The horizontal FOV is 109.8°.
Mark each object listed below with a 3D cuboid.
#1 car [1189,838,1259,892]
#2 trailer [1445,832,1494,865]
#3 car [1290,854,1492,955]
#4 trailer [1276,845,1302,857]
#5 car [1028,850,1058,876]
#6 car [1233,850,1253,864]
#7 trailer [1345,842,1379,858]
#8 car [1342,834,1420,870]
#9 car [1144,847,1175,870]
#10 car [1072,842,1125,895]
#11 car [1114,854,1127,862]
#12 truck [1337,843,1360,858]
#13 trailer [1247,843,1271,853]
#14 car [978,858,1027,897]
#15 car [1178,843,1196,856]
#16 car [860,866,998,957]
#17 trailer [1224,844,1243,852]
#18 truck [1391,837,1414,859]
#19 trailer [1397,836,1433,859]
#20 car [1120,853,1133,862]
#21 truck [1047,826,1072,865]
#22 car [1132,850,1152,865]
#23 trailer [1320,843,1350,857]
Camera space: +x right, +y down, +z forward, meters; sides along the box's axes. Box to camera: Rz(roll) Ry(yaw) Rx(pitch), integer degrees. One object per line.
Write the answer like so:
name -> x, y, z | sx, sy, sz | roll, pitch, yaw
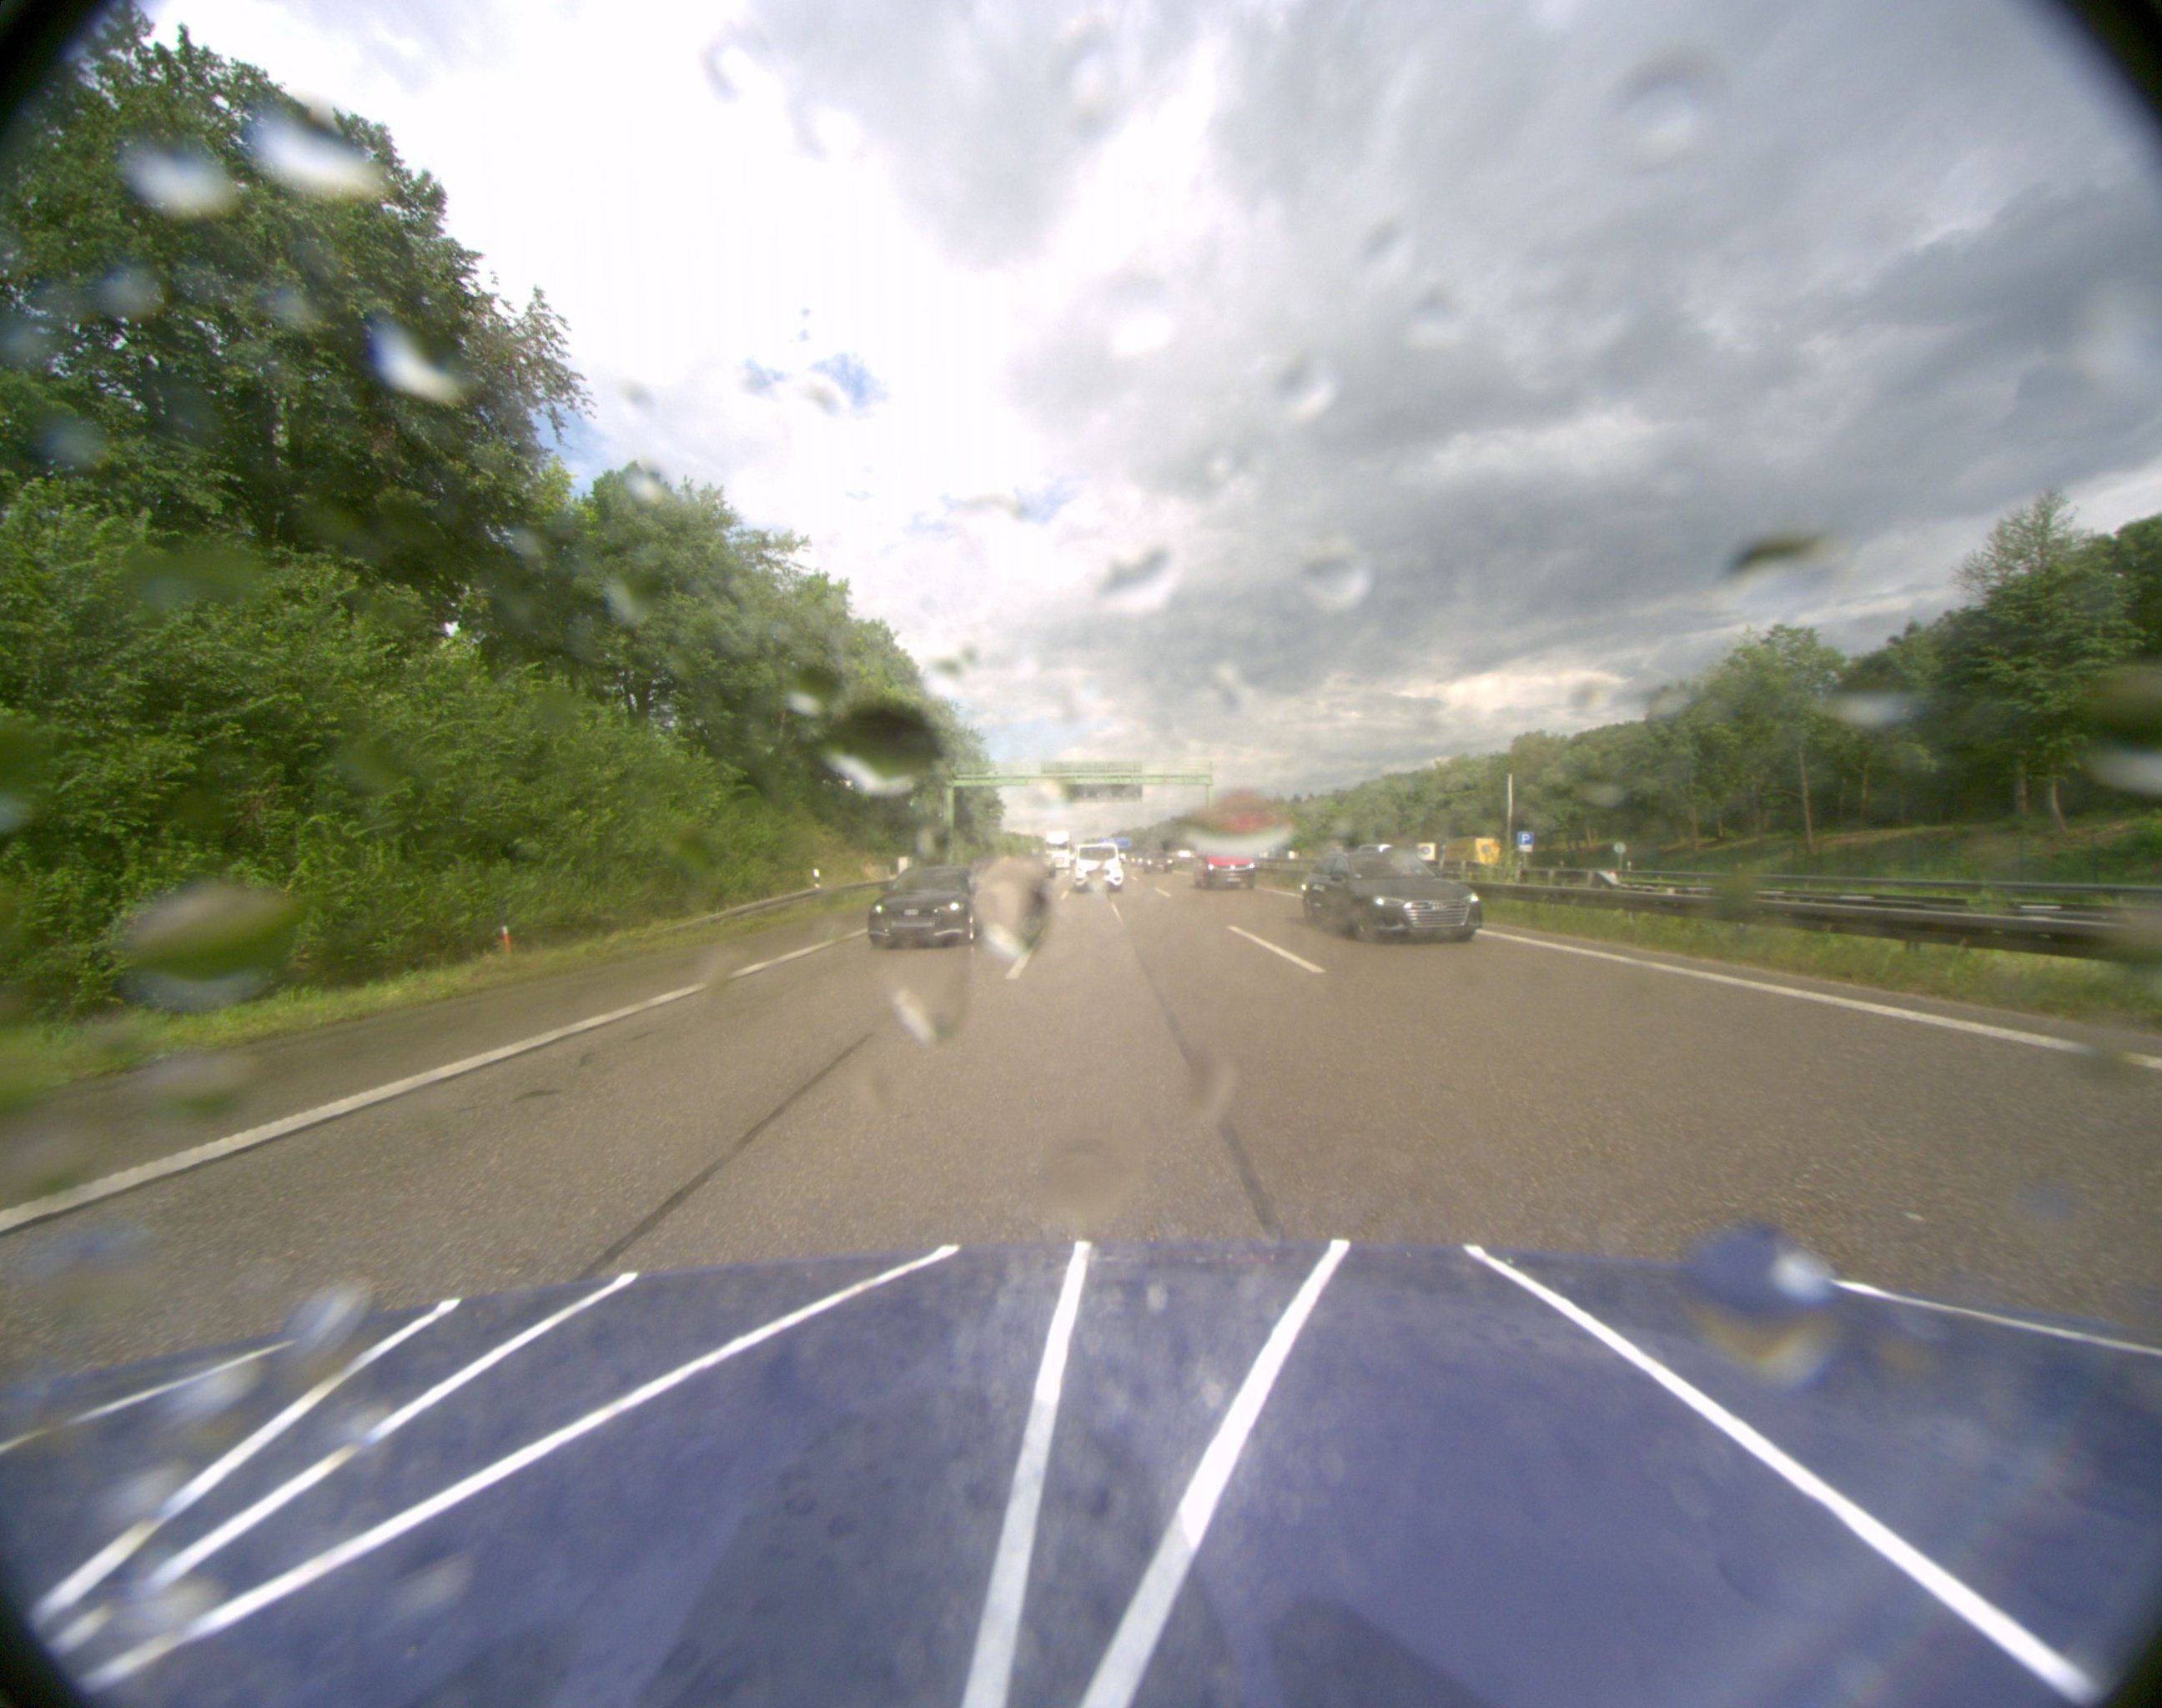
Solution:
car -> 5.737, 0.396, 31.033 | 1.895, 1.973, 4.750 | -2, 0, 0
trailer -> 47.340, -0.715, 93.064 | 1.996, 3.673, 13.669 | -2, 1, 13
car -> 5.178, 0.746, 13.407 | 1.723, 1.403, 4.467 | -2, 0, 0
trailer -> 56.867, -0.915, 208.369 | 3.193, 3.252, 12.644 | 0, 0, -2
car -> -2.683, 0.597, 54.977 | 1.831, 1.793, 5.305 | -1, 0, 0
car -> 24.015, 0.399, 112.926 | 1.998, 2.002, 4.000 | -3, 0, 1
trailer -> 57.222, -0.753, 155.166 | 3.026, 3.174, 12.175 | 0, 0, 2
car -> 14.756, -0.116, 37.694 | 1.913, 1.669, 4.968 | 0, 0, 0
car -> 5.902, 0.327, 57.691 | 1.895, 1.660, 4.294 | -1, 0, 0
car -> 0.681, 0.552, 31.638 | 1.985, 1.973, 5.168 | -2, 0, 0
car -> 6.569, 0.675, 126.612 | 1.888, 1.228, 4.506 | -2, 0, 0
truck -> 57.322, -0.787, 163.027 | 3.049, 3.165, 5.597 | 0, 0, 2
trailer -> 54.530, -1.839, 233.276 | 3.086, 3.252, 13.401 | 0, 0, -6
car -> -3.196, 0.918, 31.404 | 1.655, 1.447, 3.744 | -2, 0, -1
car -> 16.200, -0.666, 116.412 | 1.998, 1.823, 4.619 | -3, 0, 1
car -> -2.777, 0.994, 14.860 | 1.759, 1.388, 4.368 | -2, 0, 0
trailer -> 50.877, -1.894, 253.838 | 2.537, 2.559, 9.869 | -2, 1, -11
truck -> 54.398, -1.026, 128.733 | 2.167, 3.599, 5.581 | 0, 0, 8
trailer -> 53.445, -1.003, 121.870 | 2.186, 3.579, 11.726 | 0, 0, 8
car -> 6.881, 0.495, 114.259 | 1.675, 1.228, 4.000 | -2, 0, 0
truck -> -2.300, -0.857, 83.658 | 2.460, 4.080, 5.332 | -2, 0, 0
car -> 6.757, 0.366, 84.194 | 1.895, 1.557, 4.053 | -1, 0, 0
trailer -> 57.844, -0.936, 173.488 | 2.611, 3.252, 12.647 | 0, 0, 0
